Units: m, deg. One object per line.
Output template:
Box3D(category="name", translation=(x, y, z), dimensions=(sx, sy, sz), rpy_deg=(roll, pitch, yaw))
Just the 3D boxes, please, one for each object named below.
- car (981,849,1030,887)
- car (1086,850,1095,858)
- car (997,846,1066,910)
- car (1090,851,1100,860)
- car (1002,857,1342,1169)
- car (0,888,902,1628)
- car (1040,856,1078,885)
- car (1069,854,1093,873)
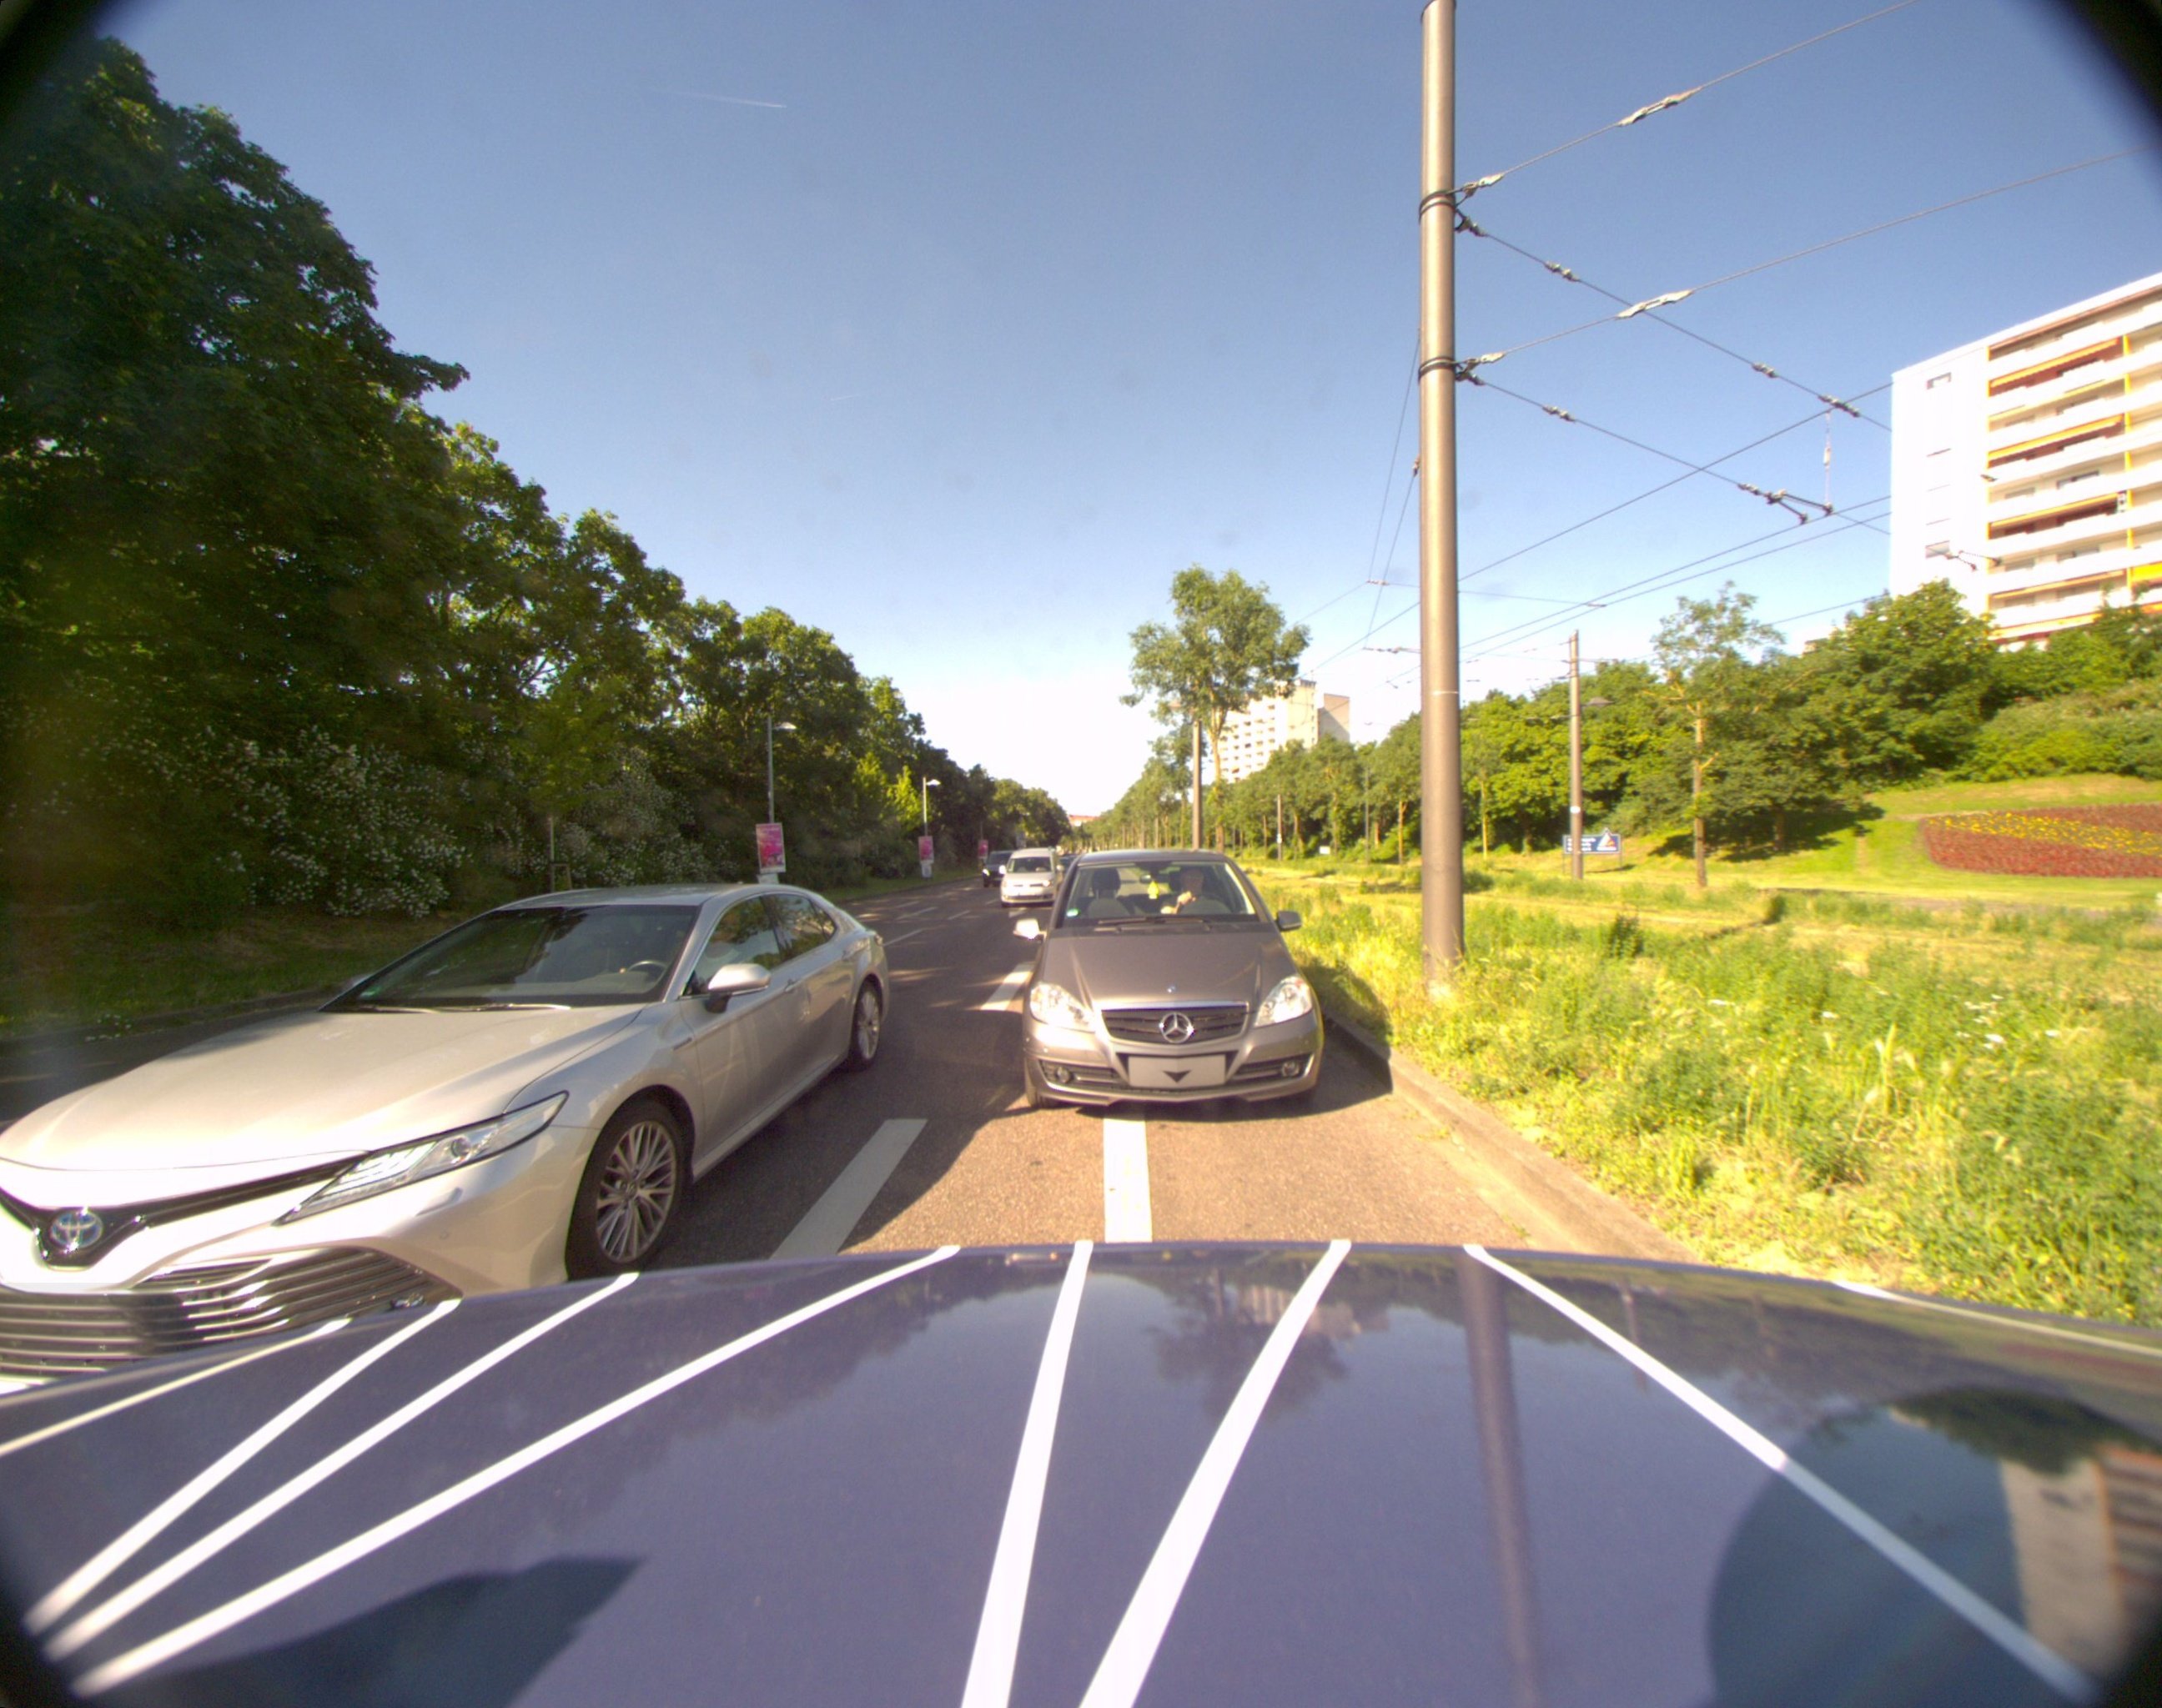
Box3D(category="car", translation=(-4.004, 0.689, 41.069), dimensions=(1.998, 1.882, 5.148), rpy_deg=(-1, 0, 1))
Box3D(category="car", translation=(1.981, 0.011, 160.597), dimensions=(1.777, 1.597, 4.384), rpy_deg=(-1, 0, 1))
Box3D(category="car", translation=(-1.522, 0.718, 25.100), dimensions=(1.822, 1.893, 4.622), rpy_deg=(-1, 0, 2))
Box3D(category="car", translation=(2.600, 0.311, 141.706), dimensions=(1.777, 1.597, 4.384), rpy_deg=(-1, 0, 1))
Box3D(category="car", translation=(0.511, 0.851, 6.208), dimensions=(1.777, 1.597, 4.384), rpy_deg=(-1, 0, 1))
Box3D(category="car", translation=(-2.648, 1.044, 4.124), dimensions=(2.069, 1.451, 4.749), rpy_deg=(-1, 0, 2))
Box3D(category="car", translation=(-1.134, 0.854, 40.476), dimensions=(1.776, 1.395, 4.067), rpy_deg=(-1, 0, 2))
Box3D(category="car", translation=(0.013, 0.707, 59.866), dimensions=(1.776, 1.395, 4.067), rpy_deg=(-1, 0, 2))
